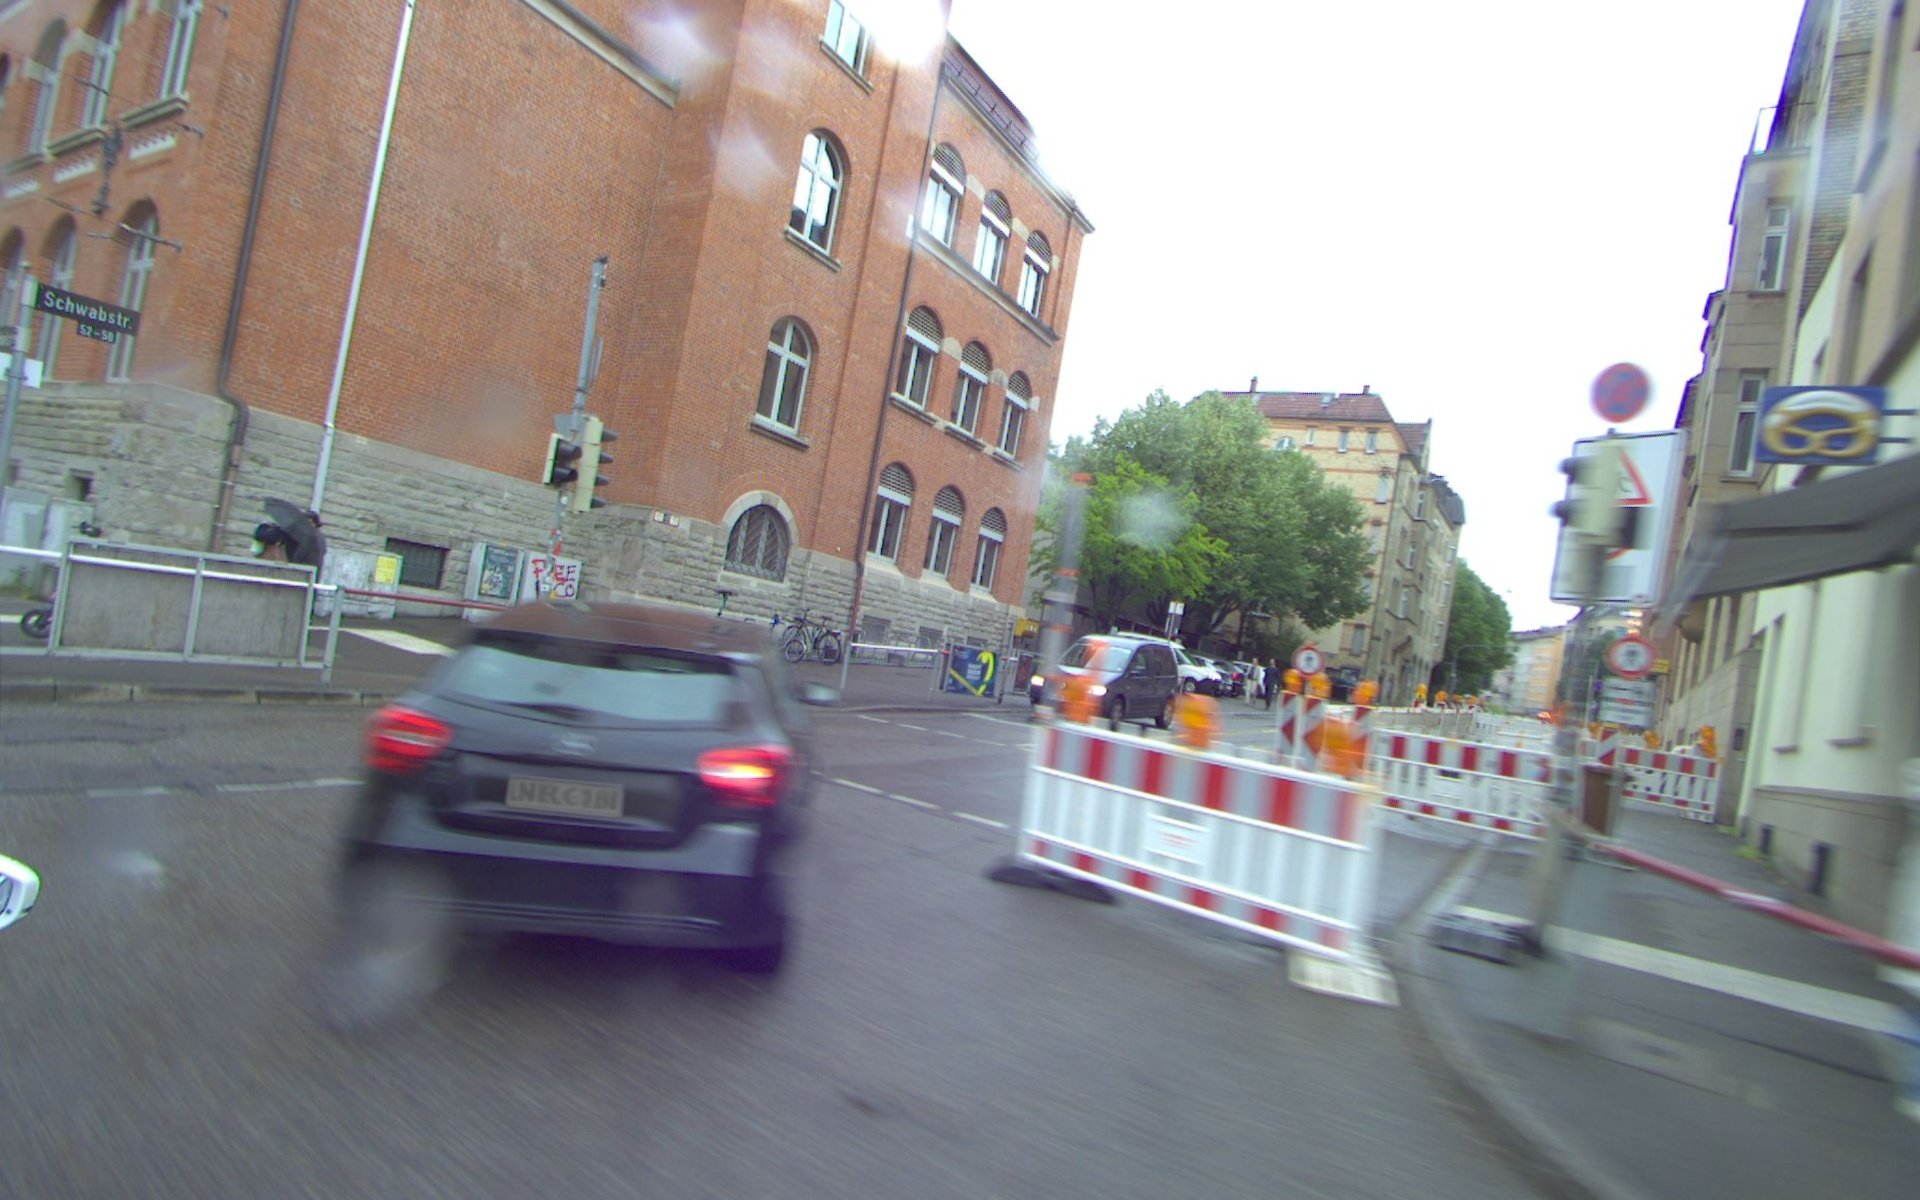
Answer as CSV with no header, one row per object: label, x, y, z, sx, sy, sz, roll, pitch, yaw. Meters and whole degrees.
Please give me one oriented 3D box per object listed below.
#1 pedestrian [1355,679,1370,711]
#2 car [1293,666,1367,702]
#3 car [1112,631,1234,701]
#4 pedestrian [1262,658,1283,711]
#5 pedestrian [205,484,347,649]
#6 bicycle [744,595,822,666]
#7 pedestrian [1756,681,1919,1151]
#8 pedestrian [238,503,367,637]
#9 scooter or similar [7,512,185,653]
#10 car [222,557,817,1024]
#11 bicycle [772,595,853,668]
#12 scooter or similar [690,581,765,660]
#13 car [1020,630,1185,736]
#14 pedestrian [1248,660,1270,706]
pedestrian,22.254,5.257,55.556,0.522,1.689,0.547,7,-1,30
car,23.324,5.289,63.439,3.934,1.636,1.829,7,-2,32
car,8.100,2.510,38.285,3.948,2.036,1.999,7,-3,31
pedestrian,11.807,3.202,38.007,0.427,1.918,0.537,7,-2,33
pedestrian,-8.670,-0.416,12.759,1.056,1.910,0.959,7,-1,32
bicycle,-3.843,0.648,21.770,1.639,1.218,0.413,12,4,31
pedestrian,4.092,1.255,4.065,0.978,1.722,0.783,8,-3,5
pedestrian,-8.960,-0.402,13.716,1.056,1.644,0.959,7,-1,32
scooter or similar,-8.973,-0.167,10.512,1.240,1.265,0.632,8,-2,-36
car,-1.766,0.726,5.456,1.770,1.390,3.997,9,-2,-8
bicycle,-3.338,0.698,22.642,1.809,1.261,0.343,13,5,31
scooter or similar,-4.749,0.411,20.497,1.493,1.435,0.409,7,-2,34
car,2.967,1.616,20.293,1.706,1.718,3.990,7,1,31
pedestrian,11.408,3.168,38.402,0.484,1.637,0.525,7,-2,33
